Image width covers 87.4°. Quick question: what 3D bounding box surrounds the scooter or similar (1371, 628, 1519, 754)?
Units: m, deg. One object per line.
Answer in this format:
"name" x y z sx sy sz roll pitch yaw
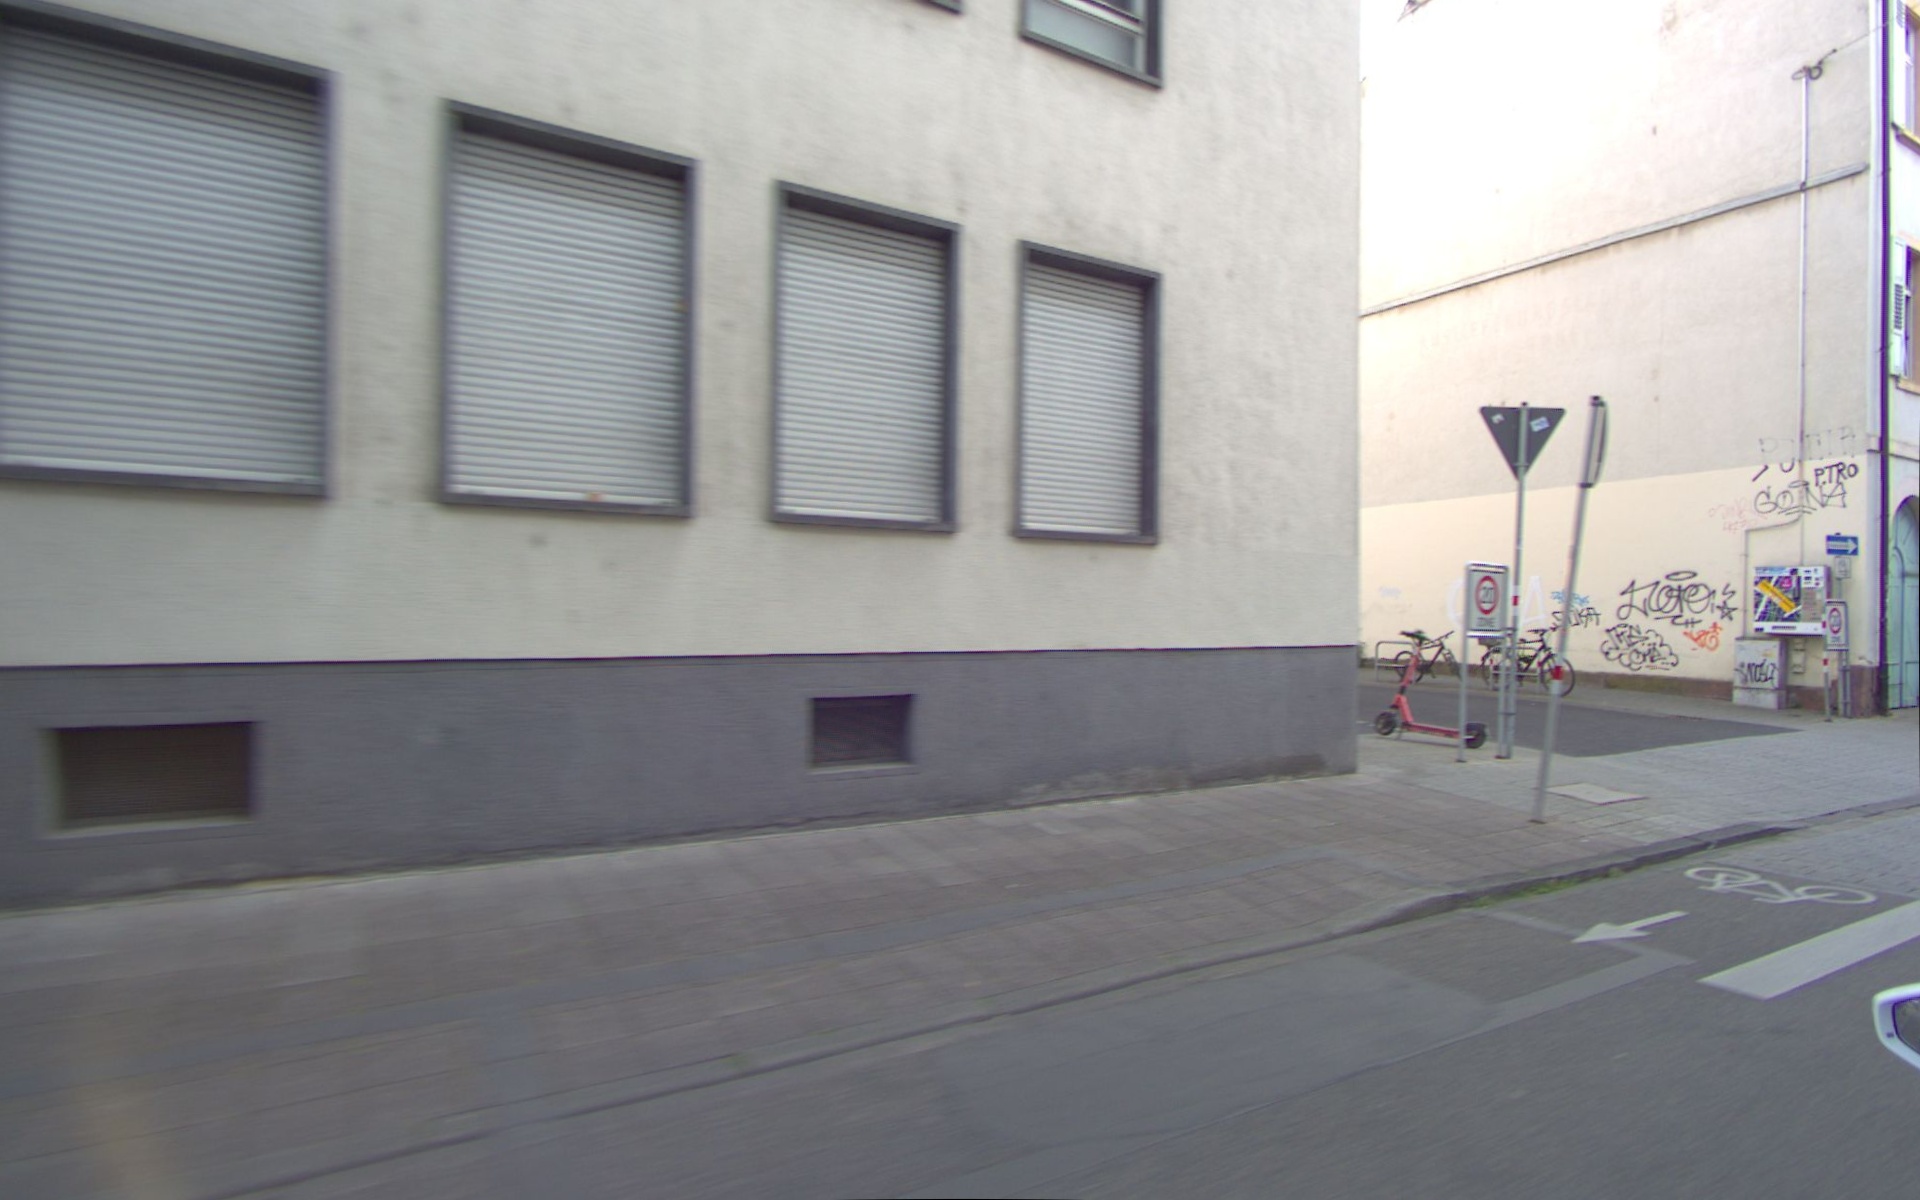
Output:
"scooter or similar" 5.359 0.971 11.126 1.343 1.217 0.531 4 2 36

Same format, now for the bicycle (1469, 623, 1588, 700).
"bicycle" 9.883 1.034 17.542 0.617 1.233 1.926 1 0 -15

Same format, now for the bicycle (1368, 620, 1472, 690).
"bicycle" 8.811 1.028 19.340 0.618 1.233 1.923 1 0 -22

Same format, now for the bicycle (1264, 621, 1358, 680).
"bicycle" 7.508 1.052 21.555 0.621 1.171 1.914 1 0 -34
